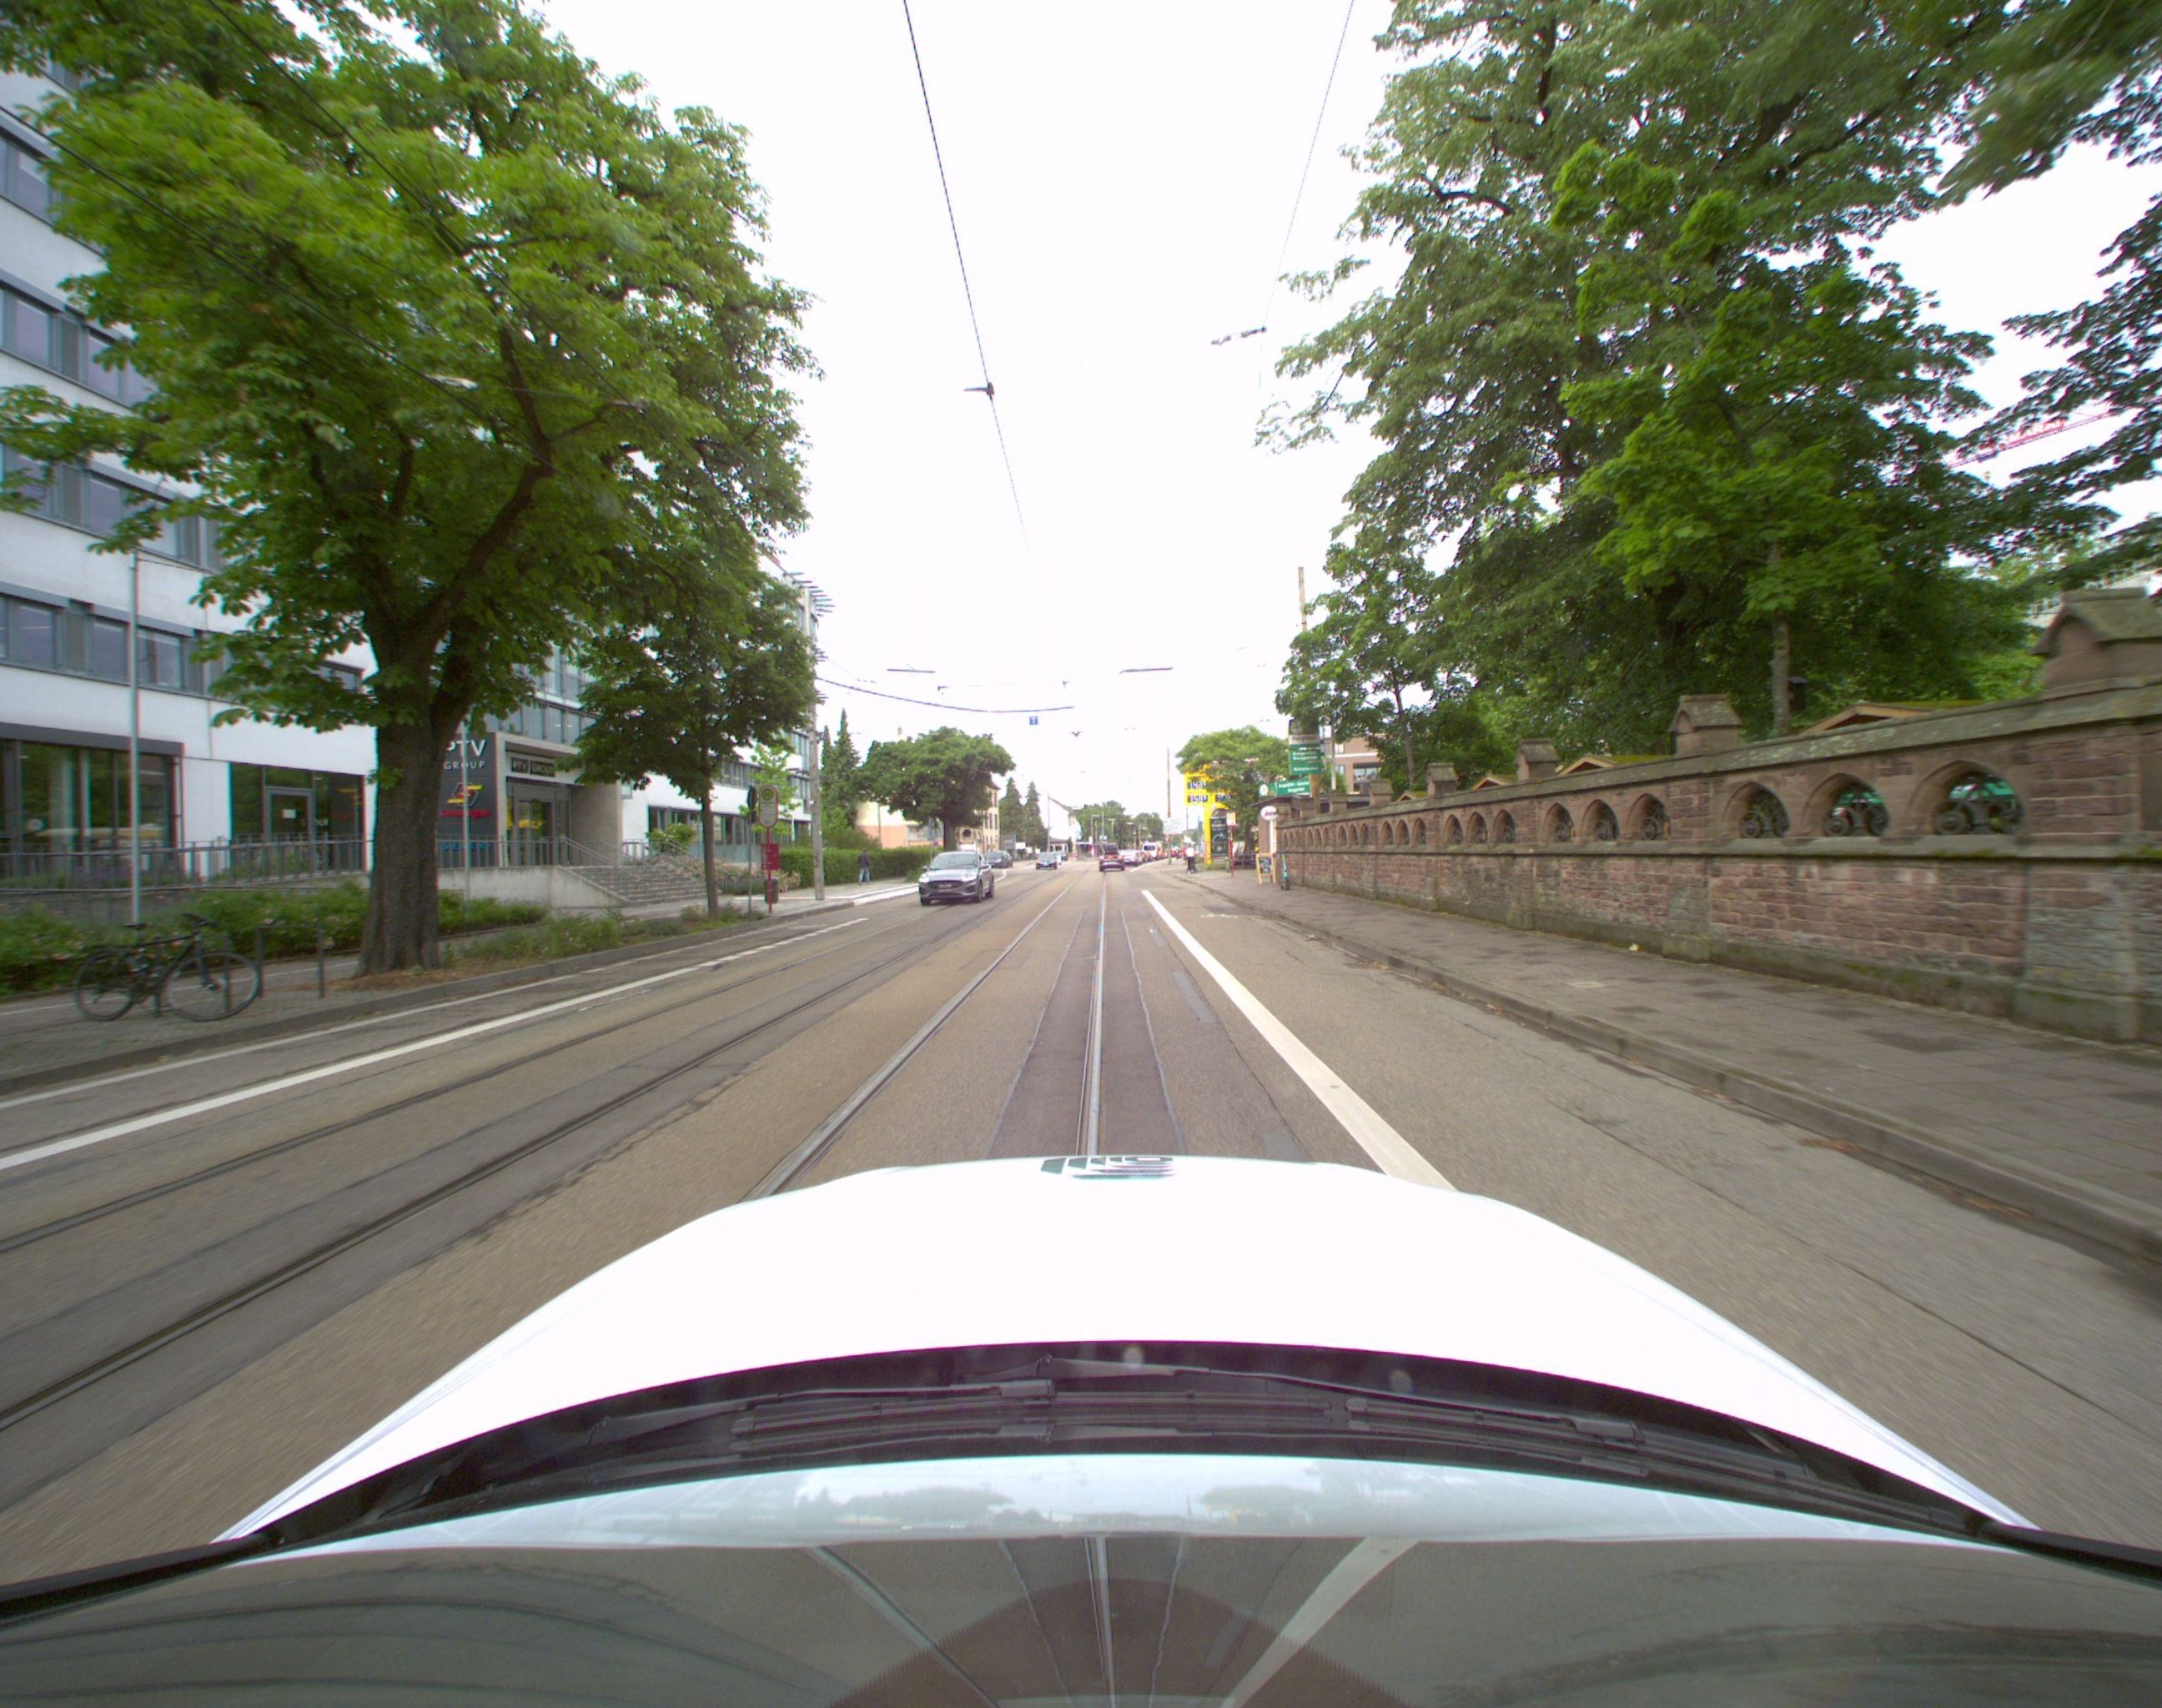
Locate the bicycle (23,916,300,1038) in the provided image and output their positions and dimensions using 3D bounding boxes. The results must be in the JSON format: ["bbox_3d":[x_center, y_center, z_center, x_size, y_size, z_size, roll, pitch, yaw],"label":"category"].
[{"bbox_3d":[-9.409,1.237,8.404,1.826,1.053,0.740,-2,1,-7],"label":"bicycle"}]

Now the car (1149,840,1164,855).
[{"bbox_3d":[11.015,-0.976,119.294,2.129,2.145,4.750,0,0,5],"label":"car"}]

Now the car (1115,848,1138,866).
[{"bbox_3d":[4.134,0.260,74.574,1.974,1.550,4.185,0,0,2],"label":"car"}]

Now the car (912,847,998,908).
[{"bbox_3d":[-3.916,0.664,26.152,1.835,1.654,4.391,-4,1,2],"label":"car"}]

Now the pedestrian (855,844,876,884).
[{"bbox_3d":[-11.029,0.510,41.648,0.706,2.013,0.993,0,0,8],"label":"pedestrian"}]

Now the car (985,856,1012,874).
[{"bbox_3d":[-8.829,1.132,87.244,1.982,1.887,5.005,0,0,5],"label":"car"}]

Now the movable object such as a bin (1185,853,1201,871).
[{"bbox_3d":[6.825,0.494,49.668,0.762,1.039,1.028,-4,0,16],"label":"movable object such as a bin"}]

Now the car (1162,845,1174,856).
[{"bbox_3d":[15.683,-0.621,147.198,1.986,2.013,4.002,0,0,2],"label":"car"}]

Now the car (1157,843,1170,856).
[{"bbox_3d":[13.722,-0.752,135.888,1.986,2.013,4.002,0,0,2],"label":"car"}]

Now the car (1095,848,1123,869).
[{"bbox_3d":[2.074,0.313,60.224,1.982,1.497,4.328,0,0,2],"label":"car"}]

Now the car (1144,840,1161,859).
[{"bbox_3d":[9.593,-0.598,110.215,2.206,2.423,4.957,0,0,4],"label":"car"}]

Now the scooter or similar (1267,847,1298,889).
[{"bbox_3d":[6.431,0.431,26.026,0.574,1.239,1.411,-5,0,2],"label":"scooter or similar"}]

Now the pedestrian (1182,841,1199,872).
[{"bbox_3d":[6.563,0.114,48.856,0.762,1.796,1.167,-4,0,16],"label":"pedestrian"}]

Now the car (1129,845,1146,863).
[{"bbox_3d":[6.650,-0.009,96.133,1.984,2.013,4.005,0,0,4],"label":"car"}]

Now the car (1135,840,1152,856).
[{"bbox_3d":[7.860,-0.737,102.479,1.984,2.013,4.006,0,0,5],"label":"car"}]

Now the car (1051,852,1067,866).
[{"bbox_3d":[-2.534,0.605,96.241,1.698,1.530,3.742,-1,0,1],"label":"car"}]

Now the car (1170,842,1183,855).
[{"bbox_3d":[13.856,-0.807,118.216,1.865,1.823,4.102,0,0,5],"label":"car"}]

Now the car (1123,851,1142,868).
[{"bbox_3d":[5.497,0.595,87.182,1.960,1.756,3.841,0,0,3],"label":"car"}]

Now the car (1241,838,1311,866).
[{"bbox_3d":[11.776,-0.119,48.920,4.612,1.407,1.911,-4,1,-45],"label":"car"}]

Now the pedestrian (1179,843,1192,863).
[{"bbox_3d":[9.588,-0.107,74.695,0.967,1.738,0.862,-4,-1,5],"label":"pedestrian"}]

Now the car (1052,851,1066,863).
[{"bbox_3d":[-3.298,0.419,123.962,1.820,1.737,4.338,-2,0,2],"label":"car"}]
